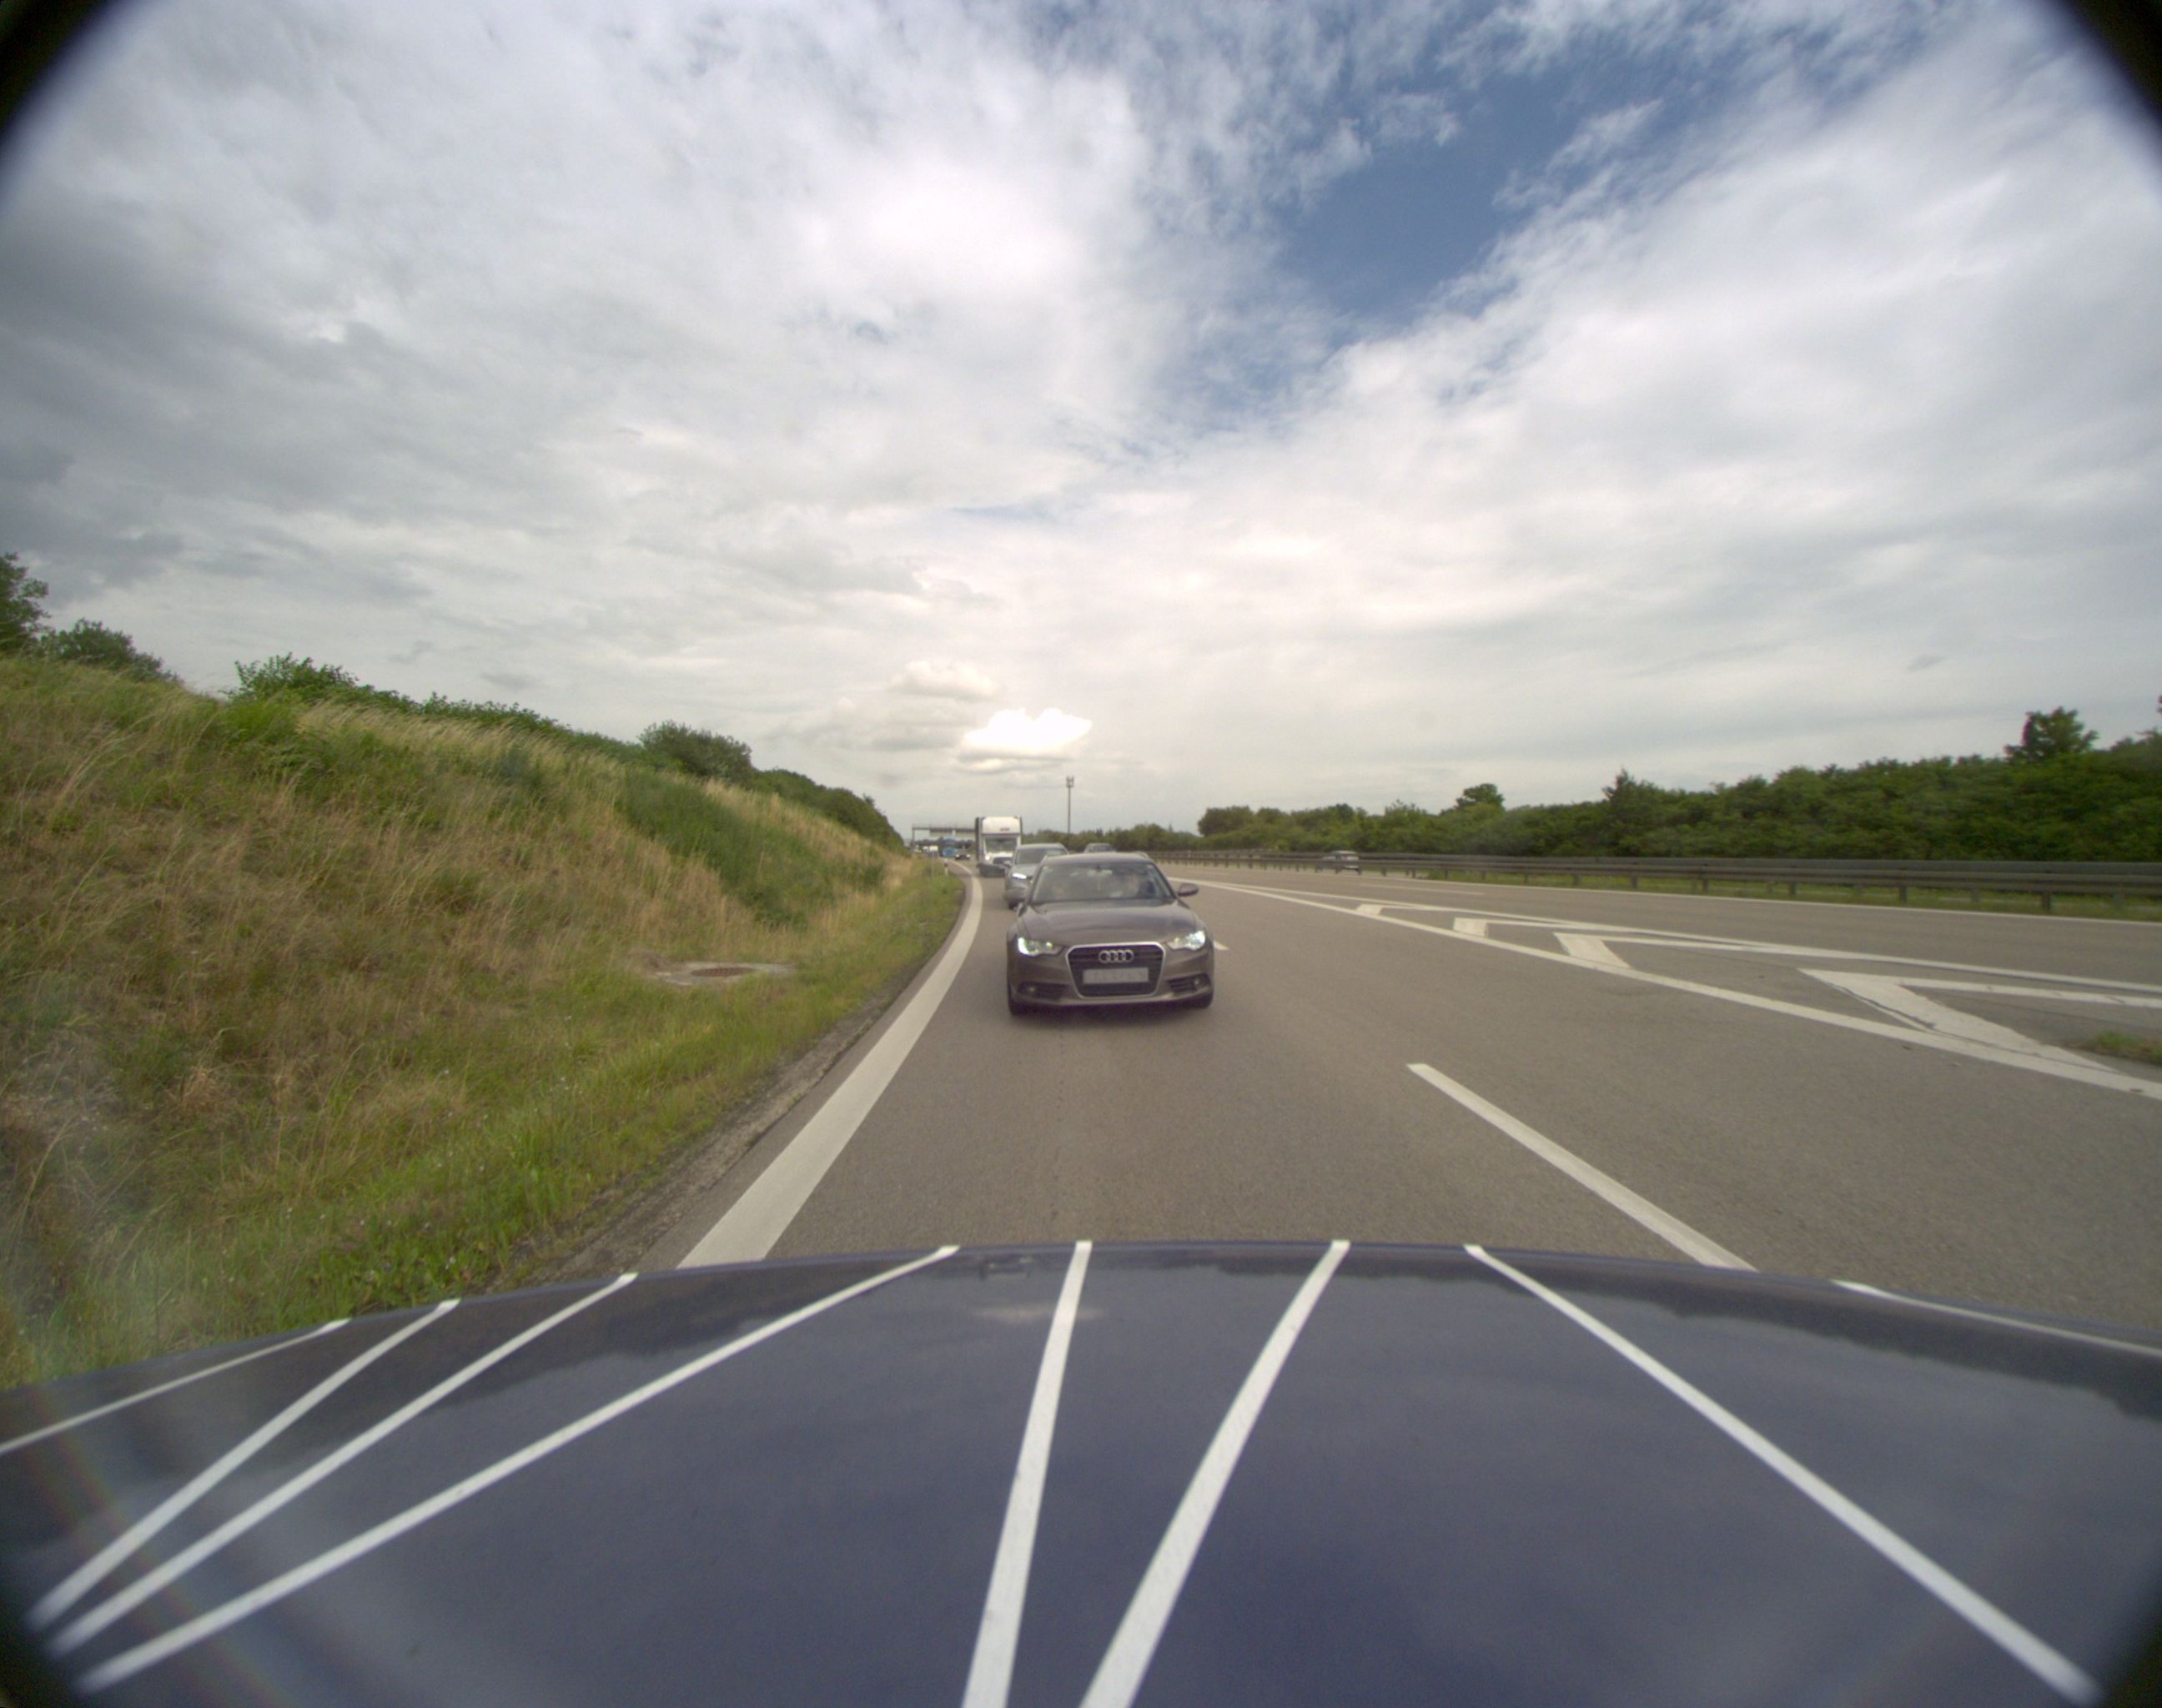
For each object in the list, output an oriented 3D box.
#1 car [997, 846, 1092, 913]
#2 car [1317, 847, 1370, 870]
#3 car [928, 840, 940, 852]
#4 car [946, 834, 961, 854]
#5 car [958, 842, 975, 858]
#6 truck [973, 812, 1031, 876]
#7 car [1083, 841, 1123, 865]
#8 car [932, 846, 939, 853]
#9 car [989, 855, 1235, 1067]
[{"bbox_3d":[-1.077,0.595,20.229,2.000,1.567,3.996,-1,1,-10],"label":"car"},{"bbox_3d":[18.927,0.291,54.911,1.810,1.587,3.995,-1,1,-12],"label":"car"},{"bbox_3d":[-40.510,-2.187,209.514,2.948,3.447,6.563,-1,1,-12],"label":"car"},{"bbox_3d":[-24.631,-1.861,146.455,2.507,3.690,7.692,-1,1,-12],"label":"car"},{"bbox_3d":[-15.376,-0.550,101.991,2.000,2.002,3.995,-1,1,-12],"label":"car"},{"bbox_3d":[-4.449,-0.547,41.674,2.451,3.217,7.183,-1,1,-11],"label":"truck"},{"bbox_3d":[1.620,-0.094,57.206,2.000,1.751,4.918,-1,1,-11],"label":"car"},{"bbox_3d":[-38.625,-1.188,201.518,1.932,2.020,3.995,-1,1,-11],"label":"car"},{"bbox_3d":[0.144,0.819,7.826,1.849,1.489,4.027,-2,1,-3],"label":"car"}]
